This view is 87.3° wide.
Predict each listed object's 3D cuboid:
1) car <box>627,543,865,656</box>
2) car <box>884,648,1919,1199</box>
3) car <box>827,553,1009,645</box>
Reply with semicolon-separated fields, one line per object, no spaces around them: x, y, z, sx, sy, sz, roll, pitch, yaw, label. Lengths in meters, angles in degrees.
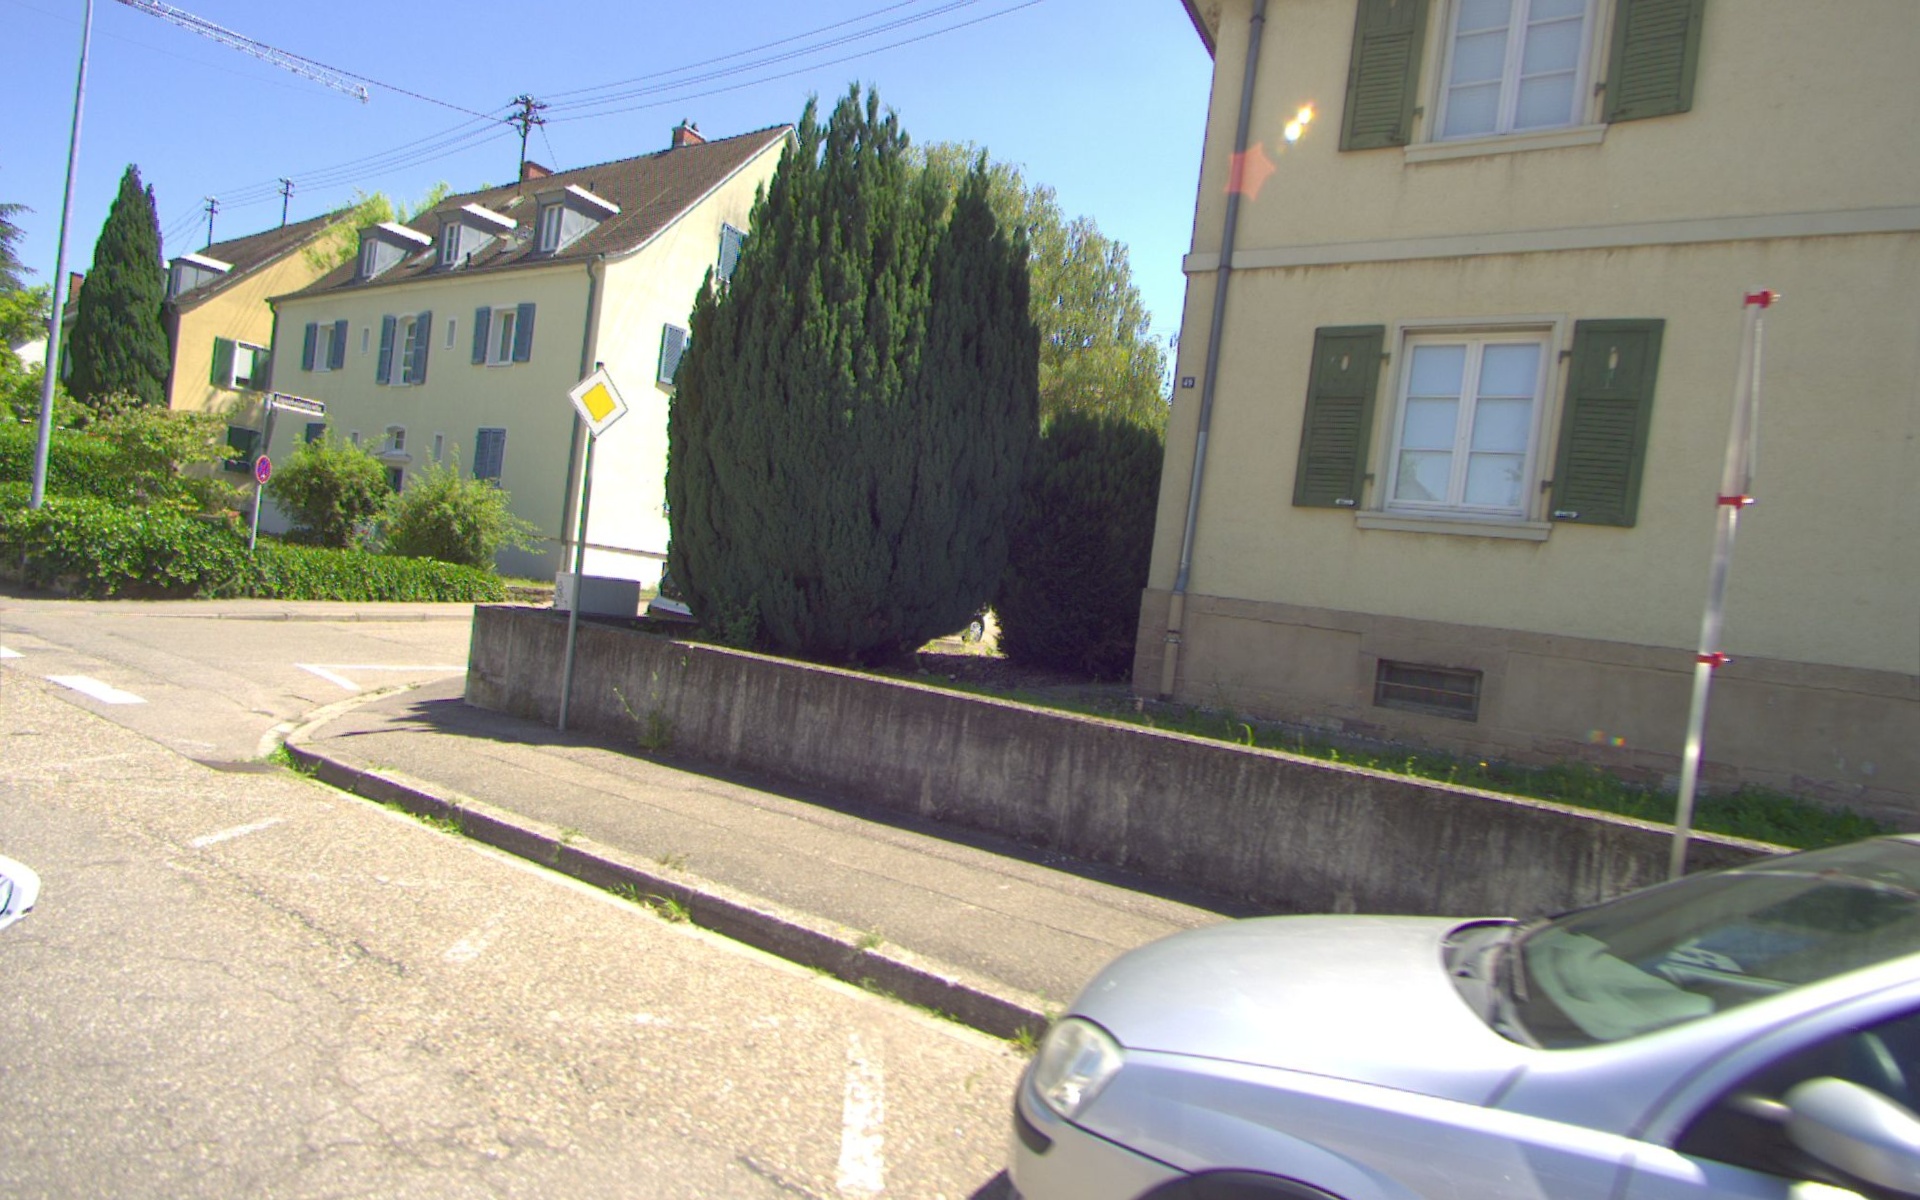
-3.268;-0.031;15.812;1.588;1.473;3.399;7;5;37;car
1.991;1.103;1.824;3.931;1.482;1.671;6;-2;29;car
-0.721;-0.037;19.276;1.587;1.473;3.496;7;5;35;car
